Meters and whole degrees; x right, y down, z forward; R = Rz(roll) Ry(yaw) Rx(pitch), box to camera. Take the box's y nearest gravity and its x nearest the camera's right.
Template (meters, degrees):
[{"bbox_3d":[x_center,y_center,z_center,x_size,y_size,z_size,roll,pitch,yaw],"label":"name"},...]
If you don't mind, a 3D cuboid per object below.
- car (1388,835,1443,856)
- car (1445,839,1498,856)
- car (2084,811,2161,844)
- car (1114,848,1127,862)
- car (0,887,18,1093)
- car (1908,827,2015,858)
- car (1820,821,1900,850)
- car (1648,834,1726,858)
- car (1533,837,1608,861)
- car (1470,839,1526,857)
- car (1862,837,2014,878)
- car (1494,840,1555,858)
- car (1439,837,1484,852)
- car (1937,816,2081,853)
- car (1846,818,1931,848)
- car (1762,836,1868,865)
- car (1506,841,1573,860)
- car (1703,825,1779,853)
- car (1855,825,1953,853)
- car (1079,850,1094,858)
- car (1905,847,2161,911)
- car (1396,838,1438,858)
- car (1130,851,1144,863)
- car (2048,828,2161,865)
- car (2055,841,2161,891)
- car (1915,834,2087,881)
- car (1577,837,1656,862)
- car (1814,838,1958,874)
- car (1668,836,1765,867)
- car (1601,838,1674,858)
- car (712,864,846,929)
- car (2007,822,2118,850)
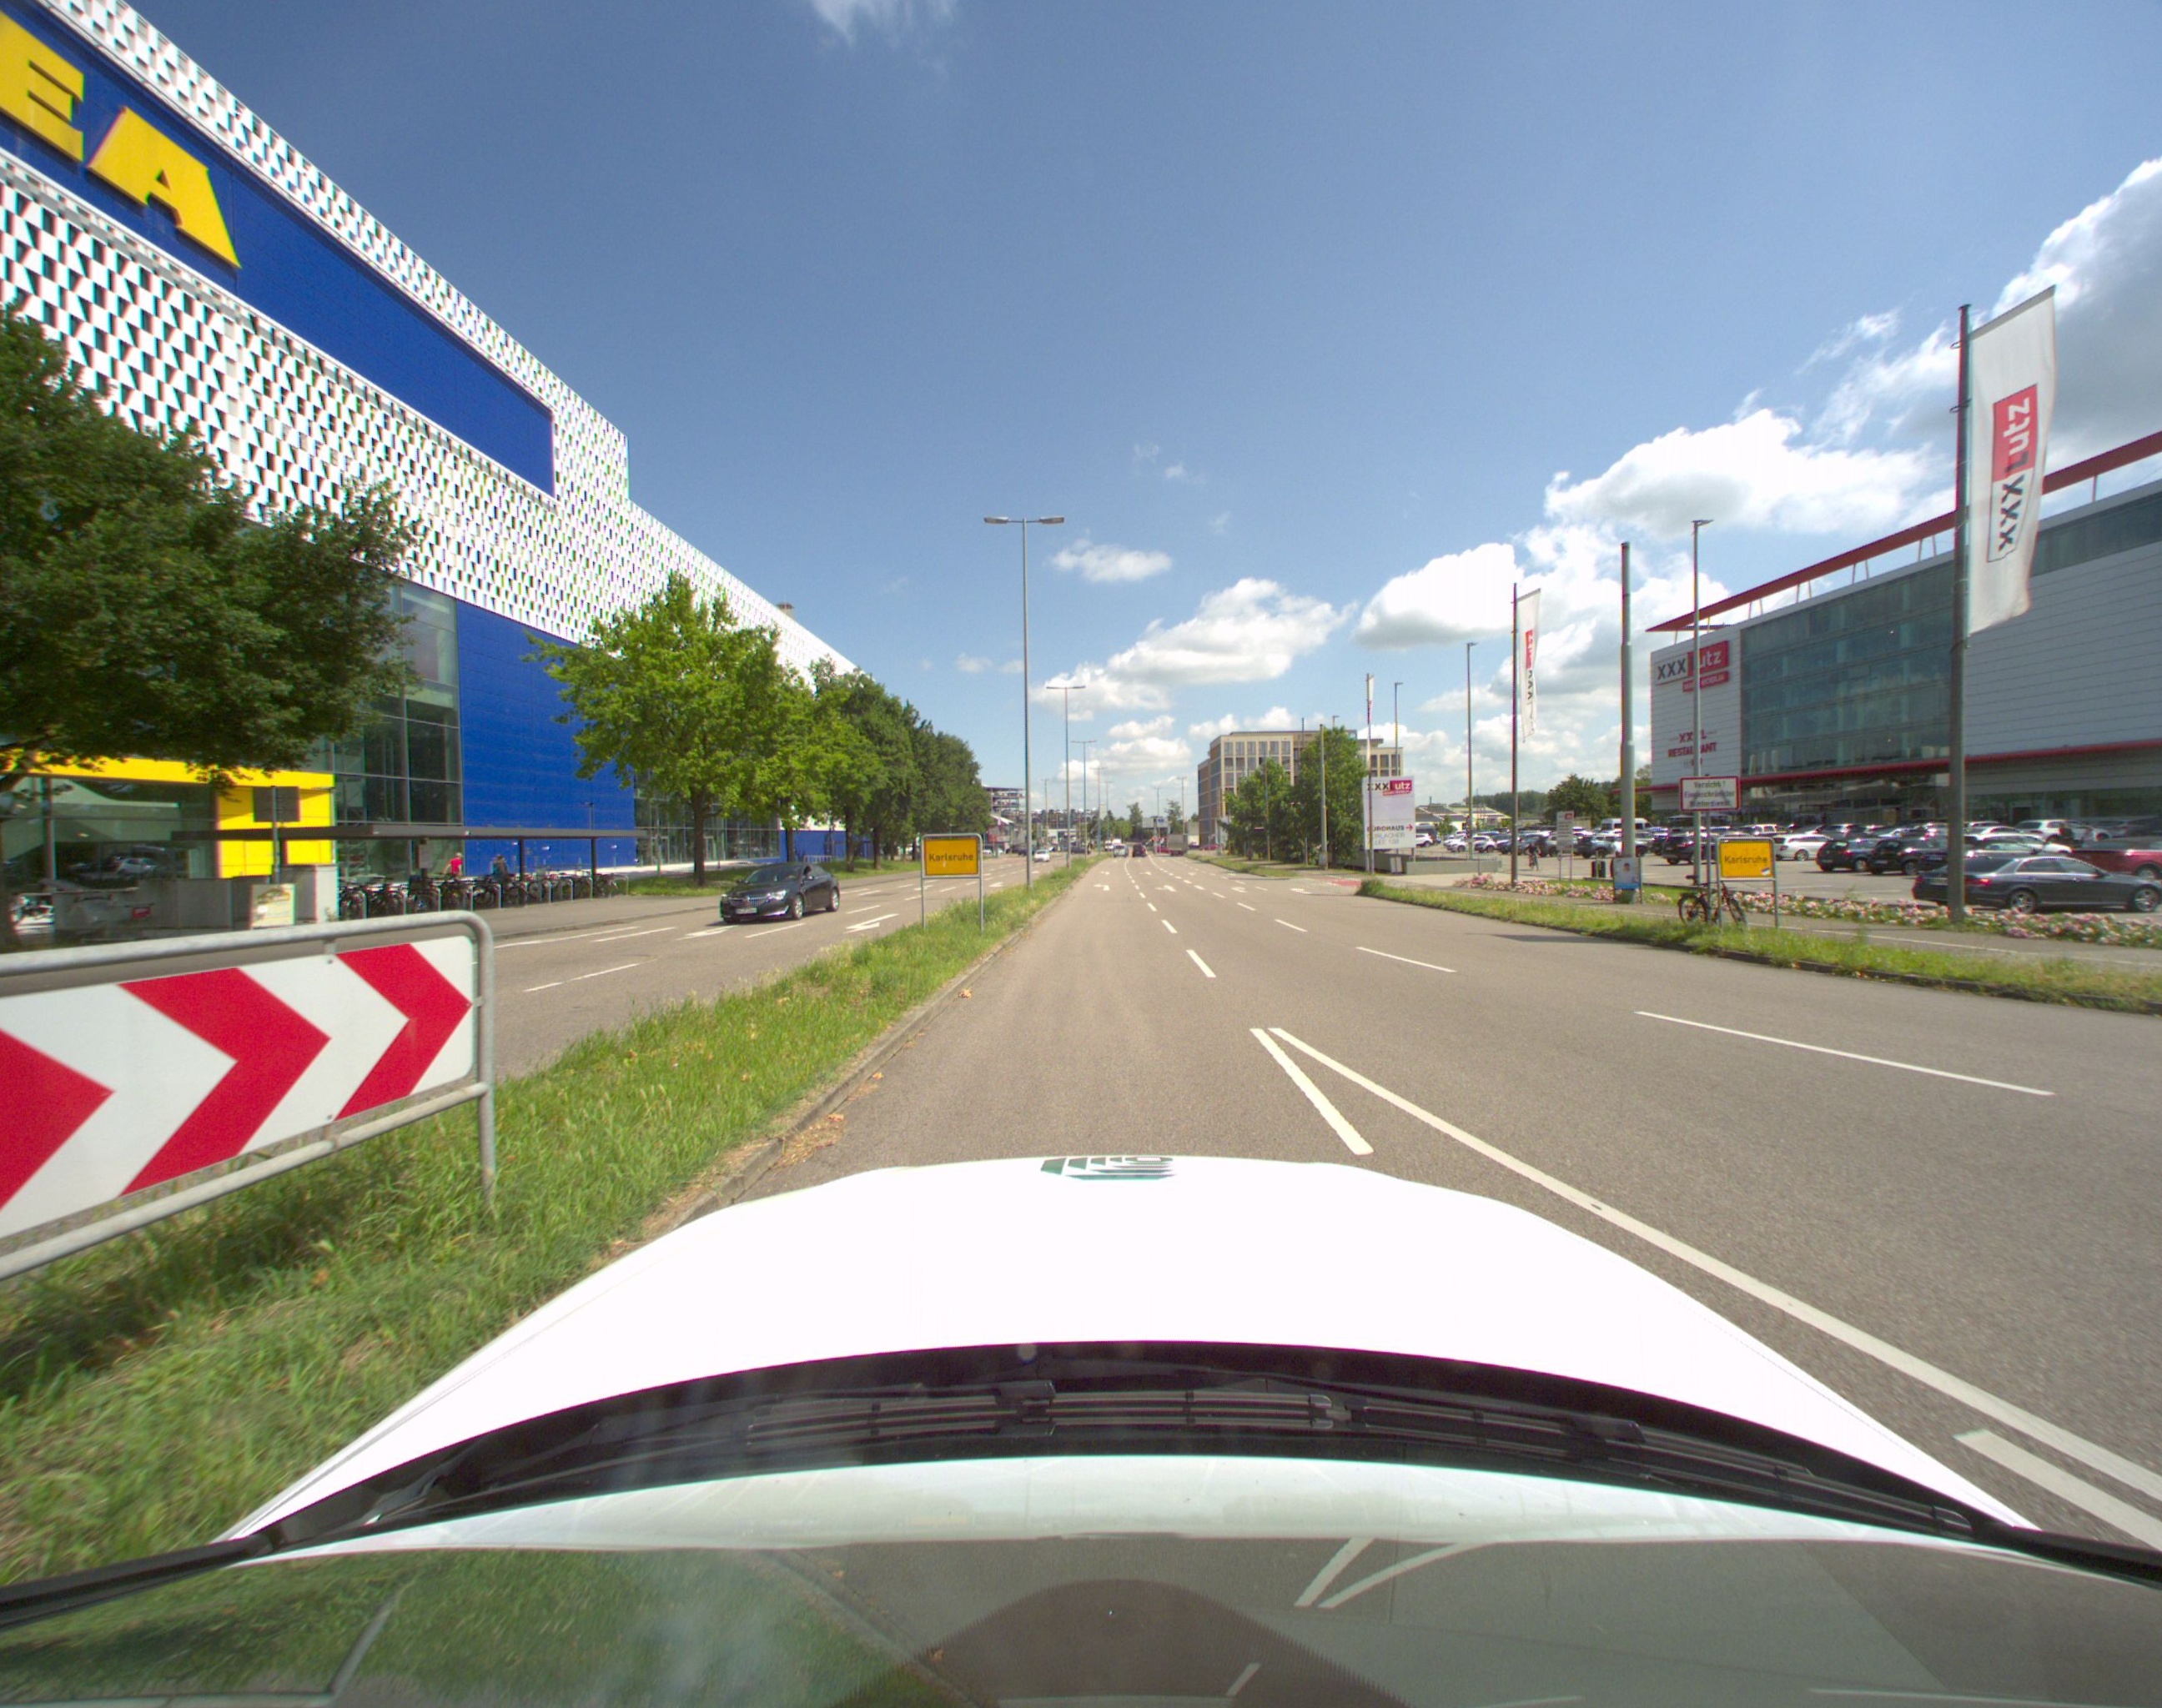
[{"bbox_3d":[39.388,-1.007,96.001,5.639,2.366,2.061,-1,0,0],"label":"car"},{"bbox_3d":[37.272,-0.650,77.798,4.171,1.389,1.892,-2,1,-1],"label":"car"},{"bbox_3d":[66.598,-1.685,51.458,3.973,2.013,2.000,-1,1,0],"label":"car"},{"bbox_3d":[5.842,0.146,121.394,1.848,2.018,4.003,0,1,2],"label":"car"},{"bbox_3d":[-8.122,0.945,3.570,1.406,1.391,4.098,-3,-1,2],"label":"car"},{"bbox_3d":[51.076,-0.690,47.294,4.211,1.587,1.853,-2,1,0],"label":"car"},{"bbox_3d":[57.361,-1.355,60.028,3.972,2.013,2.001,-1,1,2],"label":"car"},{"bbox_3d":[41.170,-0.566,55.363,3.973,1.464,1.728,-2,1,0],"label":"car"},{"bbox_3d":[36.245,-0.380,60.358,4.344,1.574,2.030,-2,1,0],"label":"car"},{"bbox_3d":[37.373,-0.548,73.029,3.974,1.571,2.000,-1,0,0],"label":"car"},{"bbox_3d":[34.937,0.109,33.272,4.339,1.442,1.629,-2,1,3],"label":"car"},{"bbox_3d":[36.895,-0.433,67.813,4.167,1.325,1.689,-2,0,2],"label":"car"},{"bbox_3d":[41.891,-1.028,89.739,4.168,1.434,1.727,-2,1,1],"label":"car"},{"bbox_3d":[40.433,-0.847,35.550,4.132,1.508,1.827,-1,1,2],"label":"car"},{"bbox_3d":[56.687,-1.479,57.209,3.972,2.013,2.001,-1,1,2],"label":"car"},{"bbox_3d":[40.644,-0.195,45.169,4.272,1.427,1.761,-1,2,2],"label":"car"},{"bbox_3d":[36.740,-0.285,65.278,4.344,1.325,1.765,-2,1,0],"label":"car"},{"bbox_3d":[48.539,-1.087,59.952,3.971,2.013,2.001,-1,1,2],"label":"car"},{"bbox_3d":[51.019,-0.926,50.519,4.211,1.587,1.853,-2,1,0],"label":"car"},{"bbox_3d":[1.406,-0.018,218.727,3.977,1.926,1.825,0,0,-2],"label":"car"},{"bbox_3d":[24.280,0.614,20.855,4.339,1.476,1.858,-1,-1,3],"label":"car"},{"bbox_3d":[38.387,-0.682,93.199,3.971,2.013,2.001,-2,0,2],"label":"car"},{"bbox_3d":[8.479,0.458,123.337,1.810,1.809,4.008,0,0,7],"label":"car"},{"bbox_3d":[47.131,-0.357,37.180,4.001,1.587,1.696,-1,1,0],"label":"car"},{"bbox_3d":[34.132,0.338,25.739,4.339,1.362,1.849,-2,1,3],"label":"car"},{"bbox_3d":[34.529,0.130,30.650,4.339,1.508,1.684,-2,0,3],"label":"car"},{"bbox_3d":[36.400,-0.309,55.448,4.168,1.552,1.765,-2,1,0],"label":"car"},{"bbox_3d":[35.043,0.078,35.549,4.339,1.362,1.849,-2,1,3],"label":"car"},{"bbox_3d":[35.247,-0.134,45.196,4.042,1.531,1.741,-2,0,-2],"label":"car"},{"bbox_3d":[40.987,-0.445,60.069,4.225,1.464,1.761,-1,1,0],"label":"car"},{"bbox_3d":[-7.751,1.016,21.395,1.657,1.421,4.520,-3,-1,2],"label":"car"},{"bbox_3d":[56.436,-1.020,46.864,4.323,1.511,1.706,-1,1,1],"label":"car"}]
